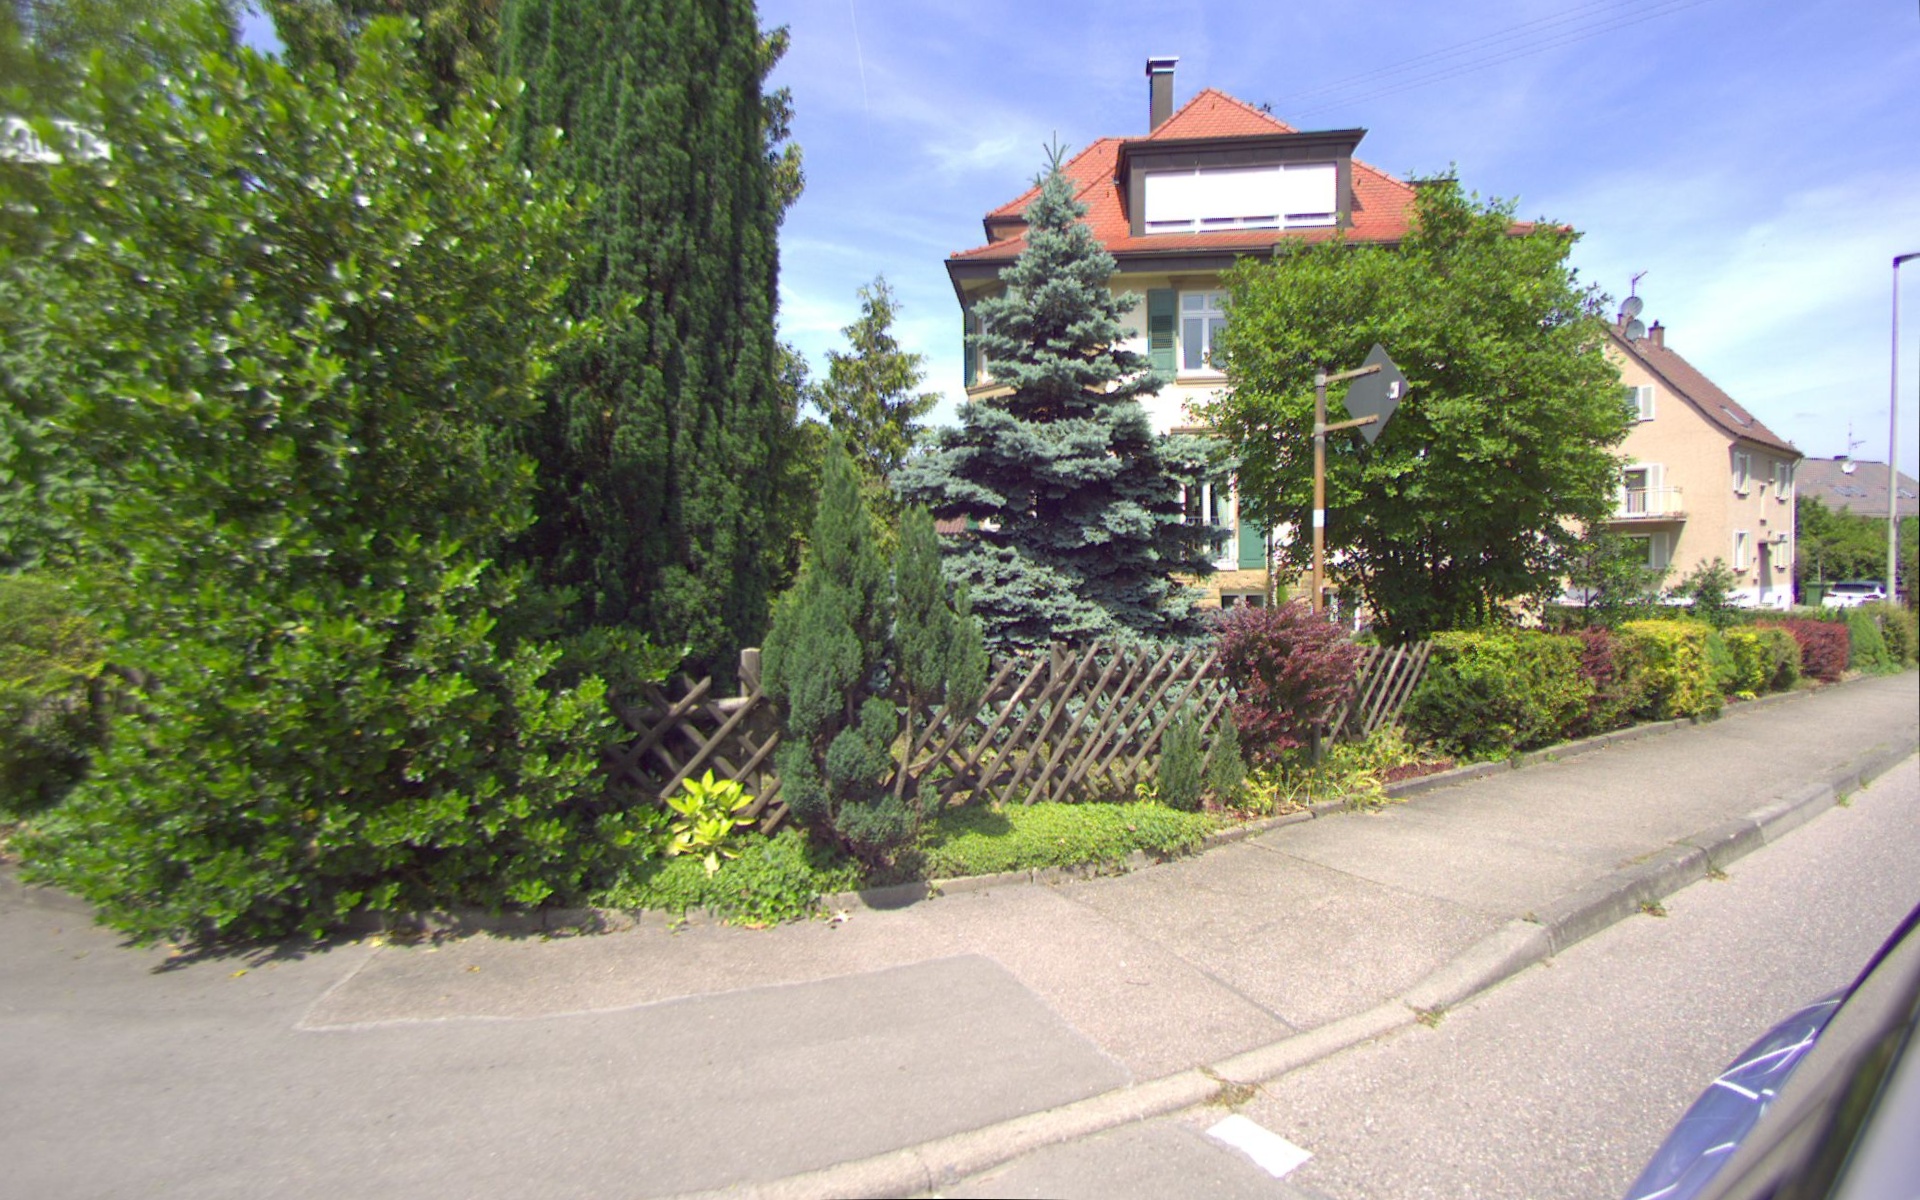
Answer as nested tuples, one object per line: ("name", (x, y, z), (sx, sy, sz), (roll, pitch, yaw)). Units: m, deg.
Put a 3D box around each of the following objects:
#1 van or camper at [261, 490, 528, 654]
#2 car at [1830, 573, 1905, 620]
("van or camper", (-8.449, -0.425, 15.485), (1.790, 2.166, 3.380), (-2, 1, 9))
("car", (33.081, -0.167, 36.864), (3.499, 1.500, 1.608), (-4, 4, -41))
